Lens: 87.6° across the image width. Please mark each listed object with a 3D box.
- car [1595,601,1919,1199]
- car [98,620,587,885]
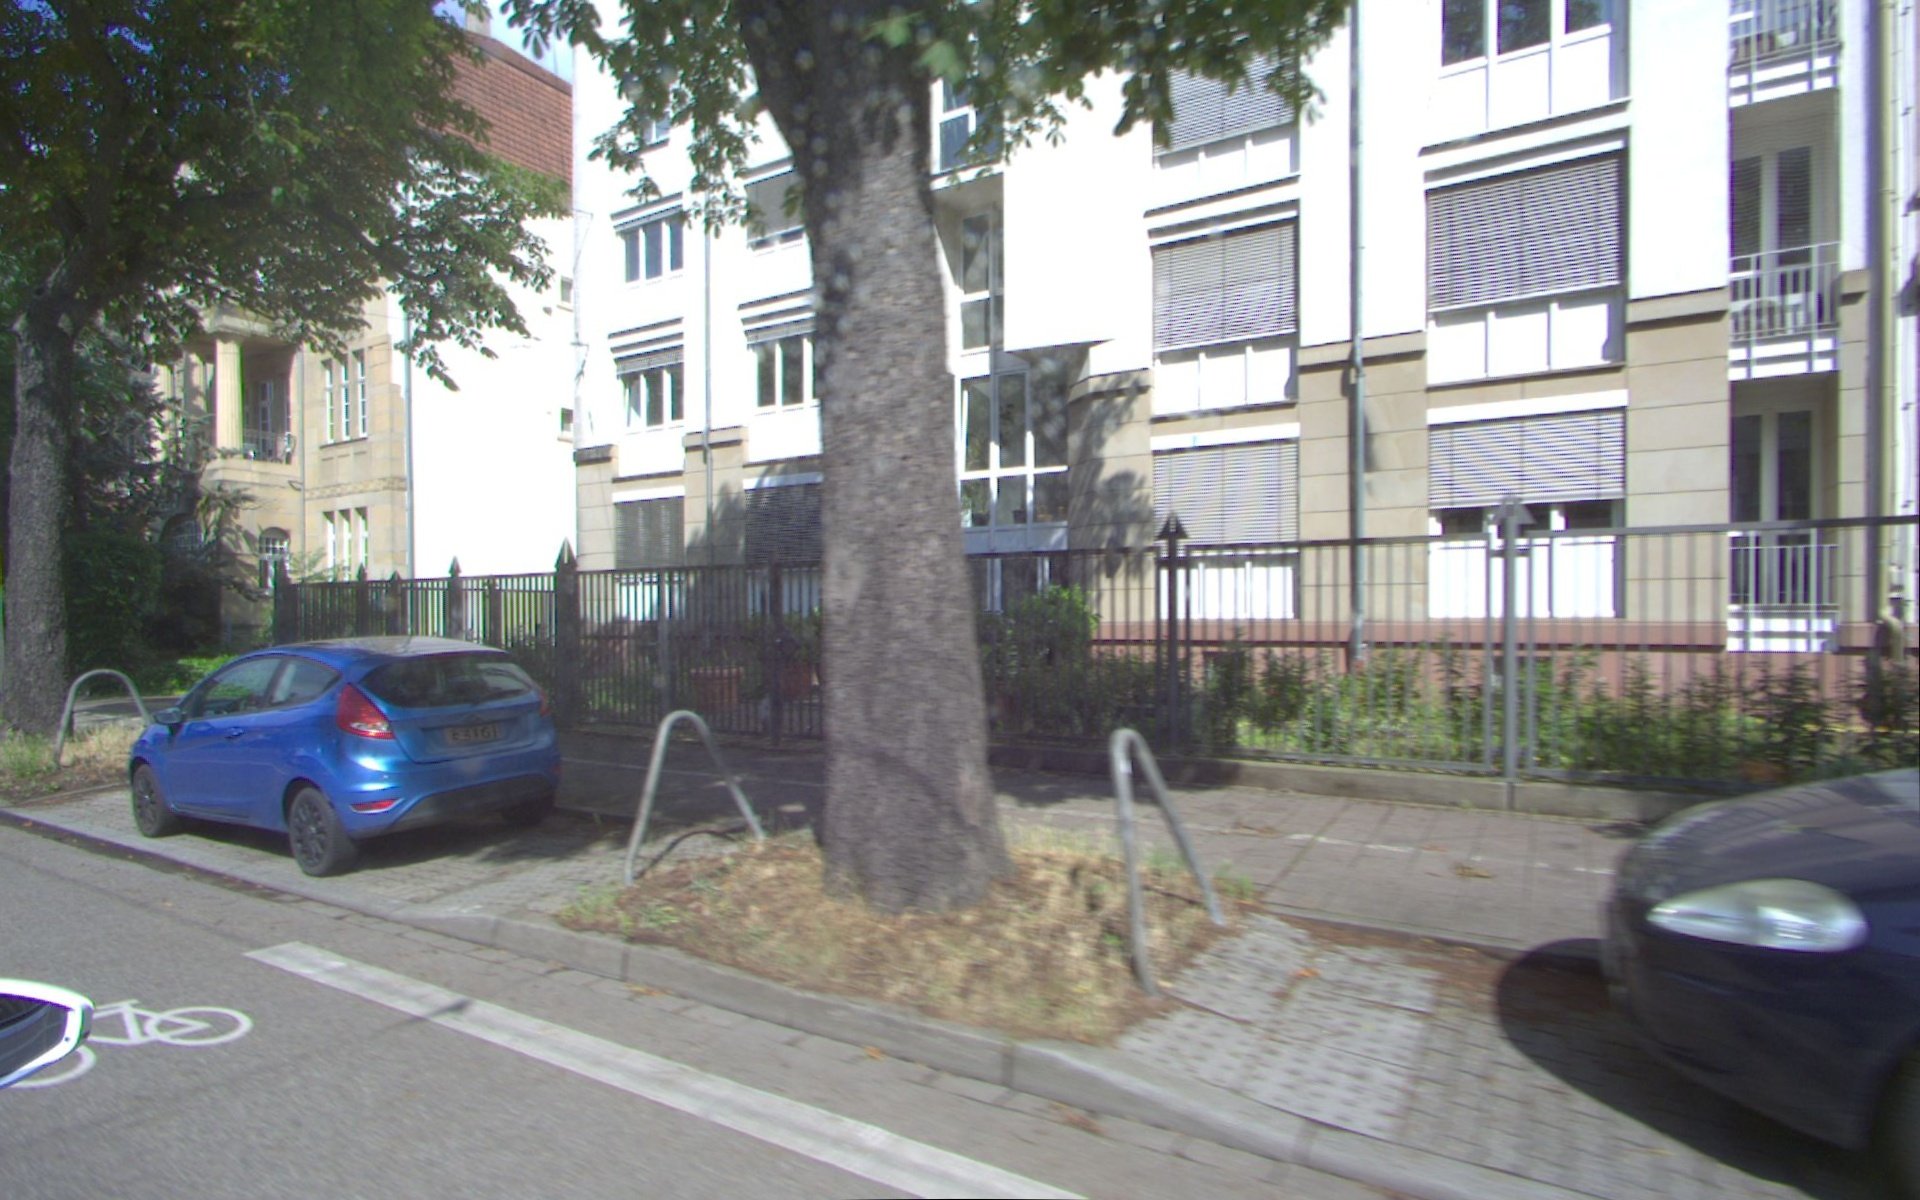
[{"bbox_3d":[3.791,0.773,2.422,3.701,1.516,1.637,0,1,30],"label":"car"},{"bbox_3d":[-4.790,0.945,7.652,3.792,1.516,1.620,-1,1,32],"label":"car"}]
